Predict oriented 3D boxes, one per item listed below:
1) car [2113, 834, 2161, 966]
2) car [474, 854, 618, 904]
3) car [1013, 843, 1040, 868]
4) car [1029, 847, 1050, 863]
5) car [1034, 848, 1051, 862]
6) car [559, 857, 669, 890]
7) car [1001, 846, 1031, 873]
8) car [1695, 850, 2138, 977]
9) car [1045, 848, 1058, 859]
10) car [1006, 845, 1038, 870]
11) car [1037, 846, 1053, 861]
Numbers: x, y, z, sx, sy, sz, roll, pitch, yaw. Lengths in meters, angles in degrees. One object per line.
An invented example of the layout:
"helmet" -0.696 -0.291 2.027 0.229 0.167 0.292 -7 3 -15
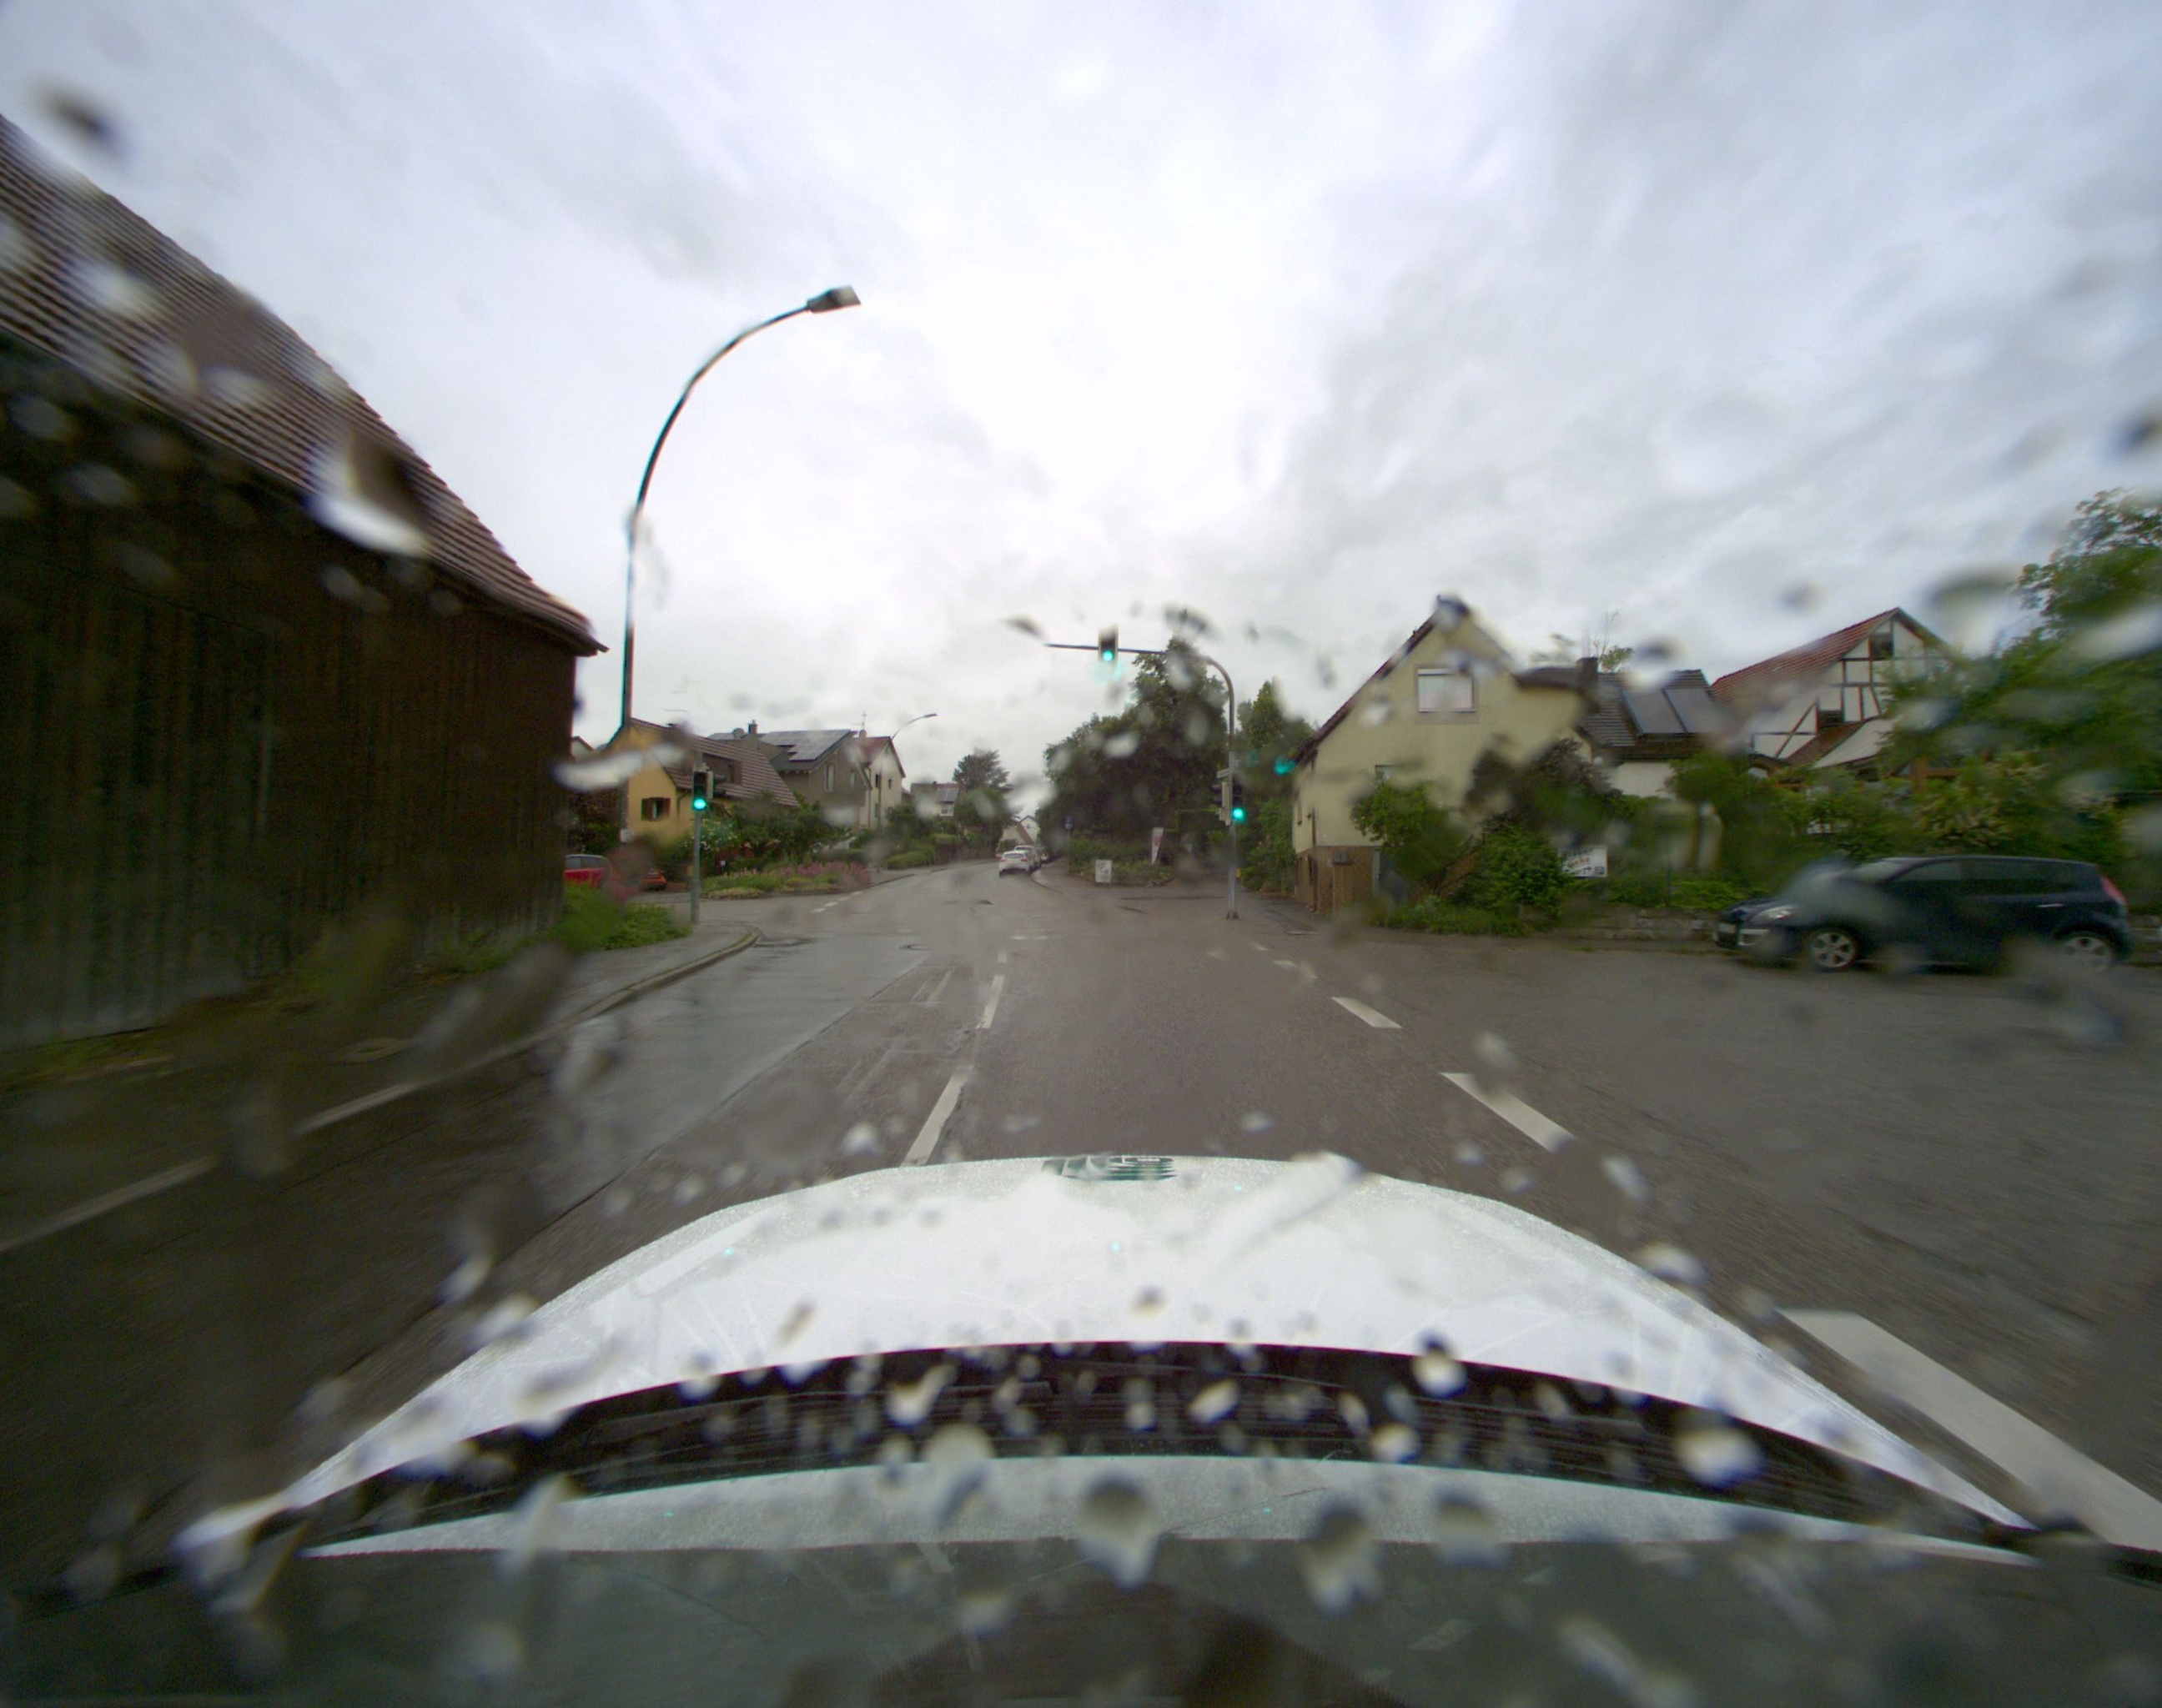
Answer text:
"car" 16.925 0.646 10.305 4.650 1.804 1.811 1 -1 15
"car" -18.474 0.808 28.340 1.736 1.562 4.035 0 0 15
"car" -3.861 0.088 58.670 1.632 1.741 4.136 0 0 0
"car" -4.054 0.111 80.469 1.808 1.573 3.881 0 0 1
"car" -4.115 0.139 86.604 1.760 1.447 4.692 0 0 -2
"car" -20.479 0.842 35.783 3.959 1.383 1.870 0 0 13
"car" -3.778 0.291 47.754 1.607 1.480 4.035 0 0 -2
"car" 11.672 0.765 11.759 4.101 1.585 1.872 0 -1 15
"car" -3.813 -0.038 106.775 1.647 1.371 4.178 0 0 -2
"car" -3.772 0.214 52.578 1.640 1.462 4.002 1 1 1
"car" -4.123 -0.021 93.029 1.737 1.668 4.494 0 0 -2
